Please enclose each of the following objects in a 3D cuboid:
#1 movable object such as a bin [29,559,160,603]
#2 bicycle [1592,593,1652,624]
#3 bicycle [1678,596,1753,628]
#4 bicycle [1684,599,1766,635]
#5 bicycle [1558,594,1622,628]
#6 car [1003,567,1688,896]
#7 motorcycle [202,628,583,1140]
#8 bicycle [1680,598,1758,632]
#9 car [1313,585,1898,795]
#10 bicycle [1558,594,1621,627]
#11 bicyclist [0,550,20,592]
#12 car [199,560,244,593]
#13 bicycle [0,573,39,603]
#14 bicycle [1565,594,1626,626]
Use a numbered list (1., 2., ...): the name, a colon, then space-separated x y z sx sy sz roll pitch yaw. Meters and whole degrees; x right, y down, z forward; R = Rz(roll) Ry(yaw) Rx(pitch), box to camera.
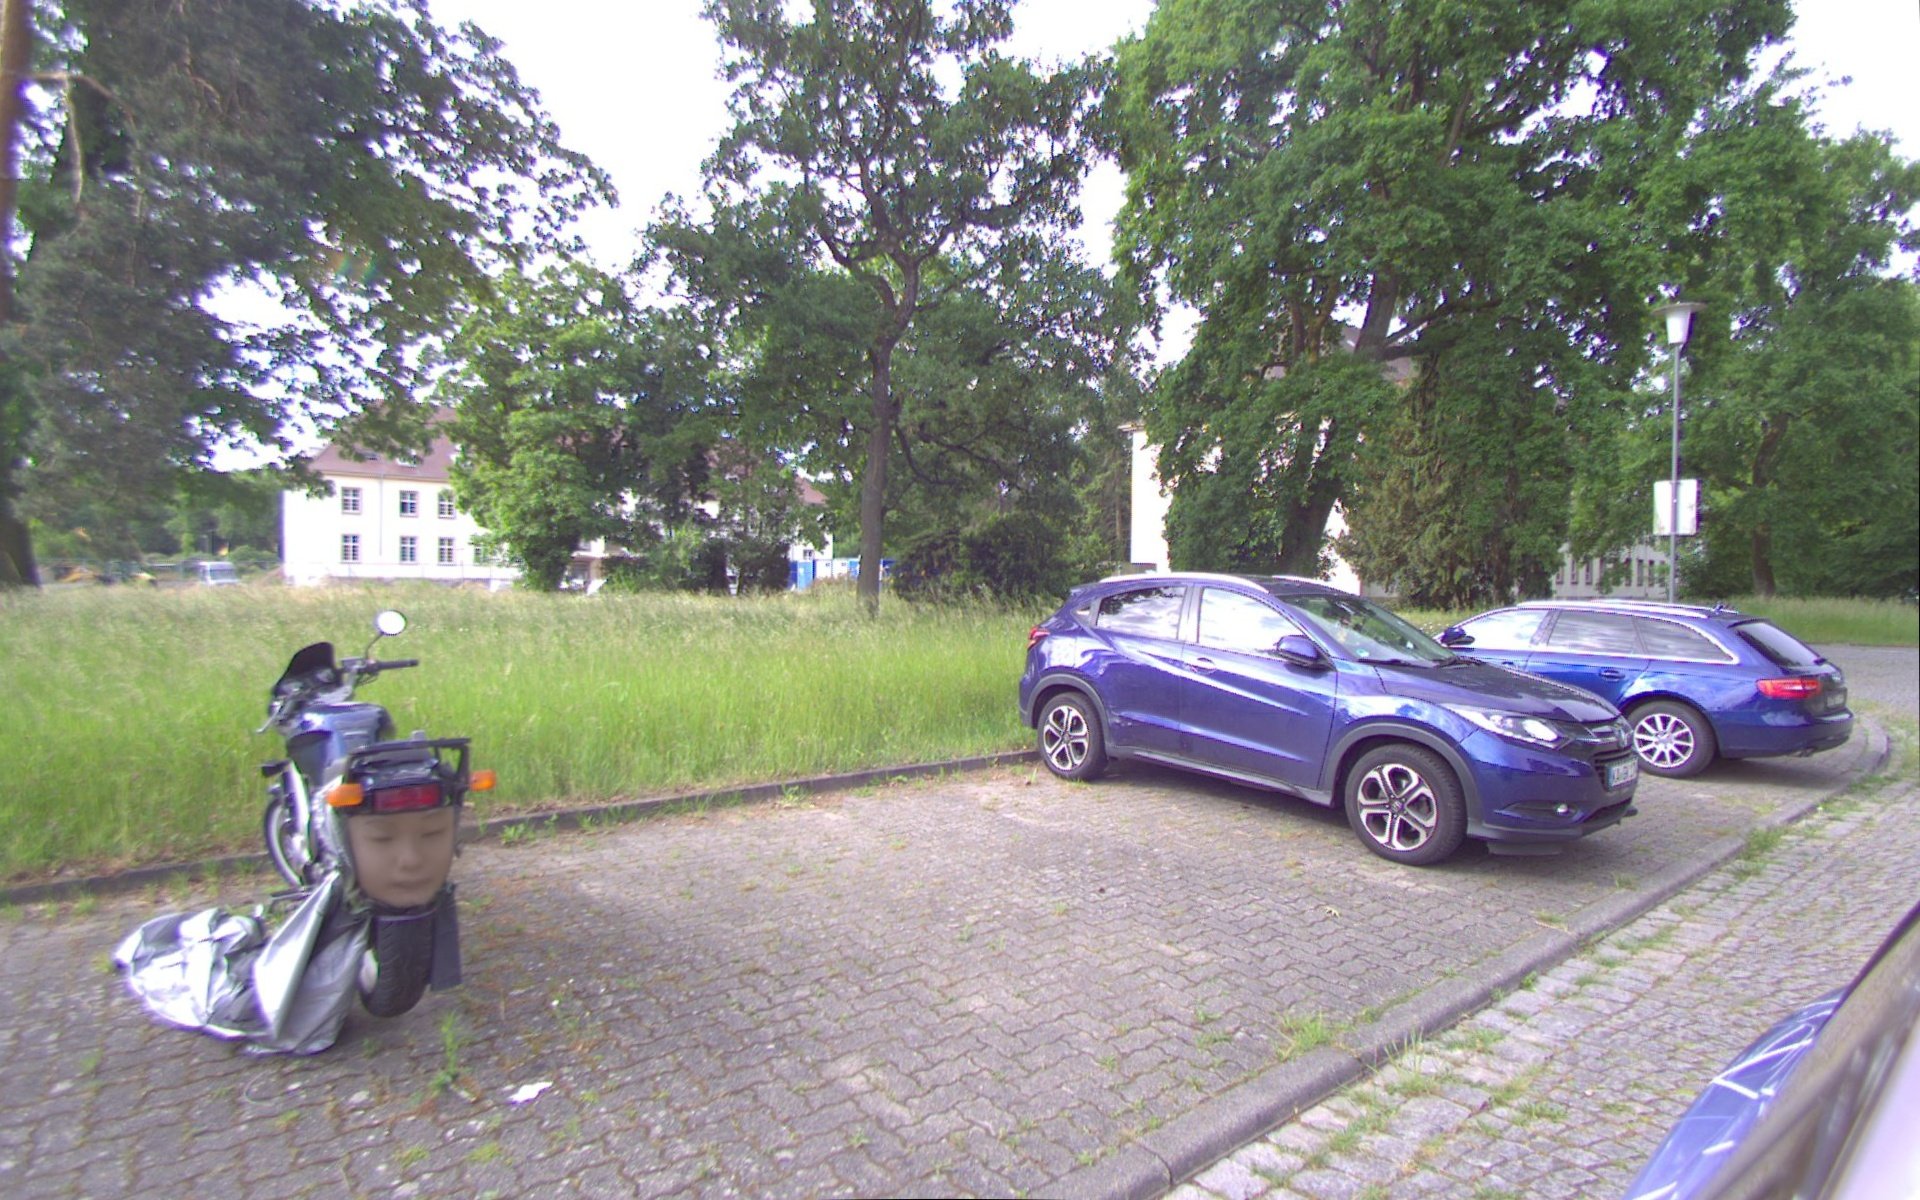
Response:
1. movable object such as a bin: -54.133 -1.183 63.451 5.852 2.688 2.180 0 0 -16
2. bicycle: 25.037 0.318 38.310 1.840 1.137 0.616 0 0 28
3. bicycle: 26.256 0.398 35.192 2.011 1.090 0.616 0 0 28
4. bicycle: 24.171 0.530 32.012 1.952 1.090 0.583 0 0 24
5. bicycle: 21.886 0.379 35.195 1.840 1.137 0.616 0 0 28
6. car: 2.330 0.568 7.073 1.761 1.591 4.172 -1 2 -39
7. motorcycle: -2.252 0.784 3.807 0.781 1.200 2.331 0 2 -41
8. bicycle: 25.035 0.474 33.413 1.952 1.090 0.583 0 0 24
9. car: 5.955 0.647 9.928 1.751 1.438 4.485 0 2 -36
10. bicycle: 22.218 0.371 35.737 1.840 1.137 0.616 0 0 28
11. bicyclist: -39.469 -1.213 41.912 0.759 1.717 0.726 0 0 -41
12. car: -54.789 -1.694 75.016 4.581 2.377 1.888 1 1 43
13. bicycle: -39.440 -0.489 41.917 1.898 1.244 0.724 -1 1 -40
14. bicycle: 23.240 0.351 37.066 1.840 1.137 0.616 0 0 28
